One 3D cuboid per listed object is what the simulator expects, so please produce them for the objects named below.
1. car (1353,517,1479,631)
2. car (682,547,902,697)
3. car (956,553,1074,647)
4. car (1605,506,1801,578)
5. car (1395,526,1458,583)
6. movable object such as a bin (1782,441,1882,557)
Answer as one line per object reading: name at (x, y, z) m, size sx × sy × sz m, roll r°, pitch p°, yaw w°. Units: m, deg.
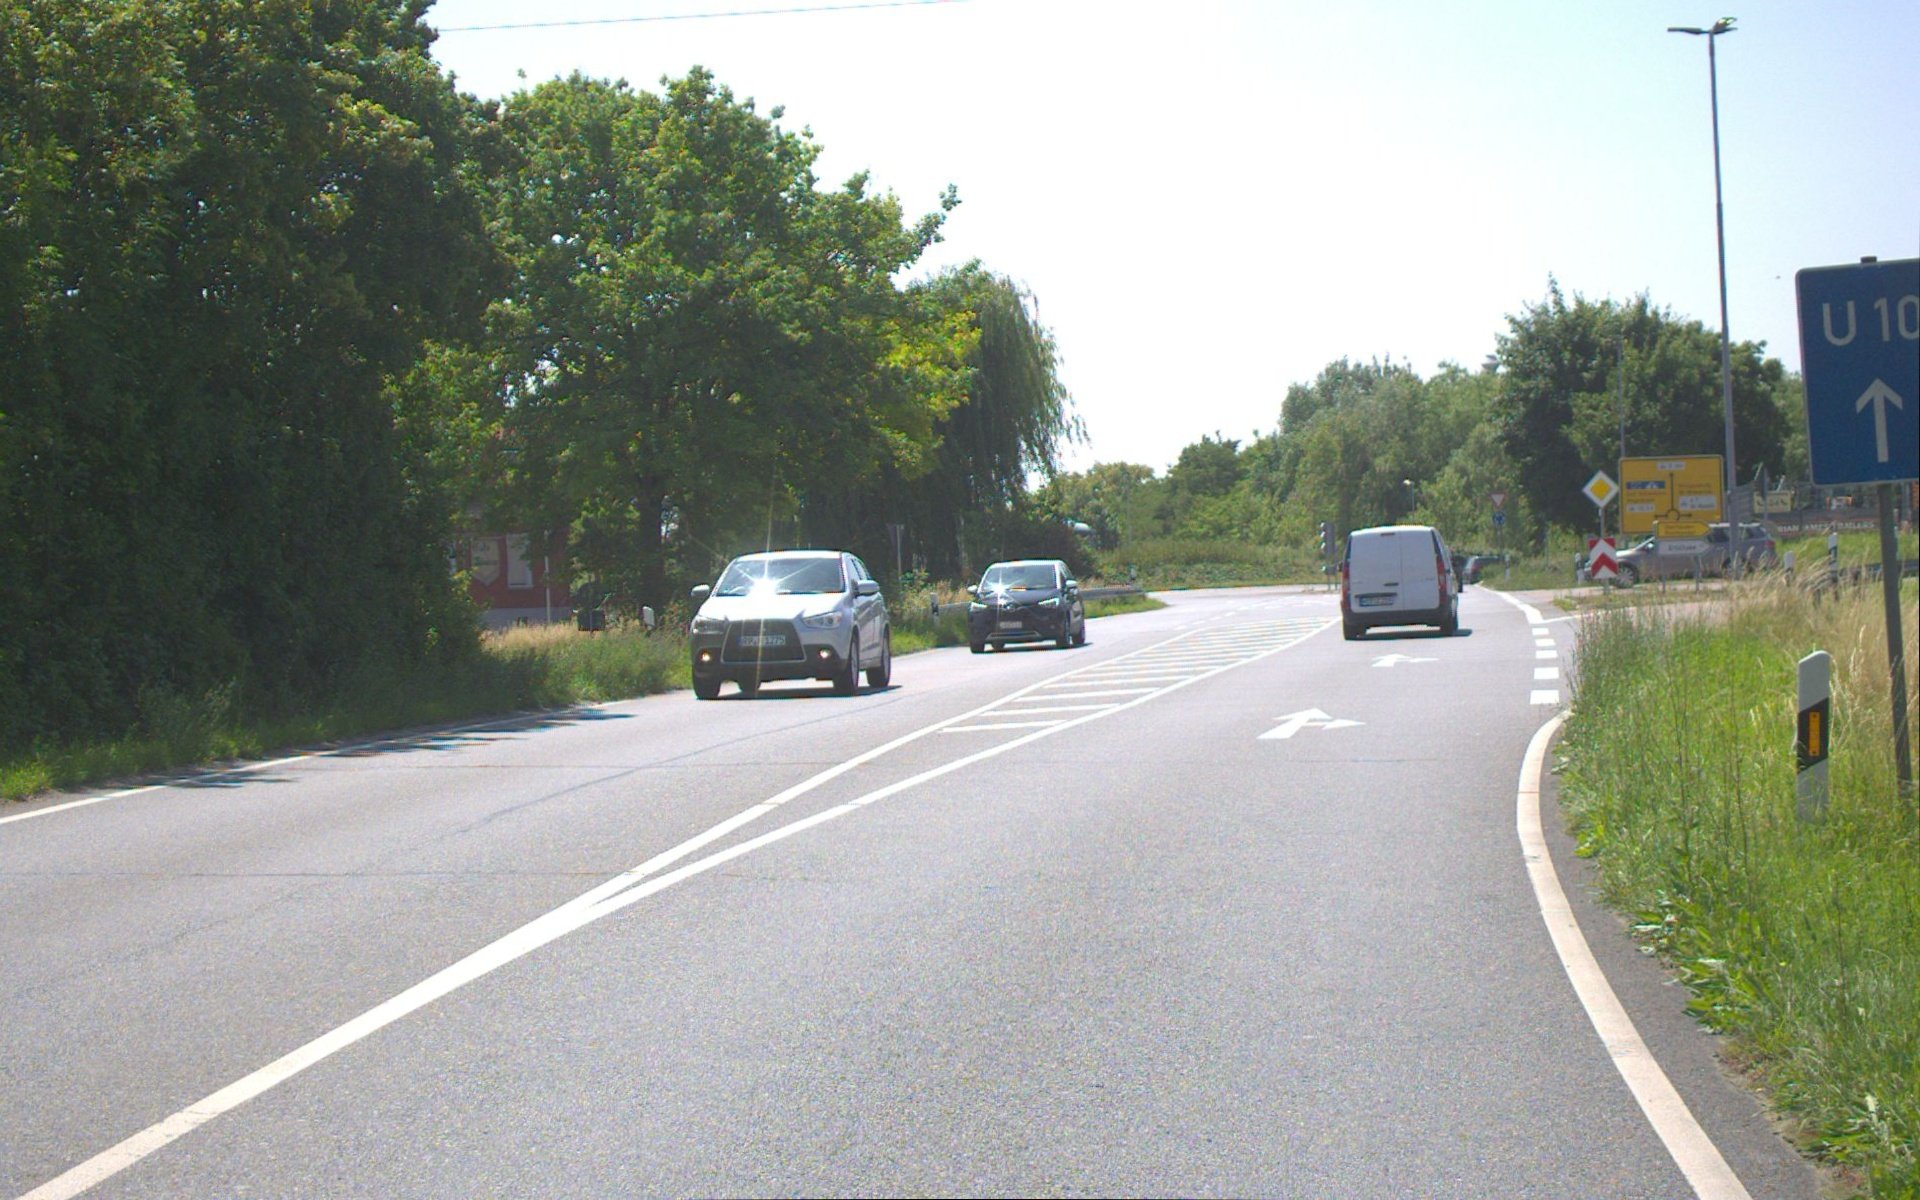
car at (7.373, -0.415, 55.863) m, size 1.904 × 1.726 × 3.821 m, roll -2°, pitch 0°, yaw 6°
car at (-1.816, 0.200, 38.565) m, size 1.741 × 1.584 × 4.529 m, roll 0°, pitch 1°, yaw 7°
car at (1.007, -0.025, 60.930) m, size 1.733 × 1.585 × 3.957 m, roll -1°, pitch 1°, yaw 6°
car at (18.205, -1.422, 84.418) m, size 4.513 × 1.503 × 1.914 m, roll -3°, pitch 1°, yaw 9°
car at (14.127, -1.400, 104.129) m, size 1.806 × 1.550 × 3.999 m, roll -2°, pitch 2°, yaw 8°
movable object such as a bin at (26.299, -3.004, 103.842) m, size 2.323 × 3.239 × 5.100 m, roll -1°, pitch -1°, yaw 8°
